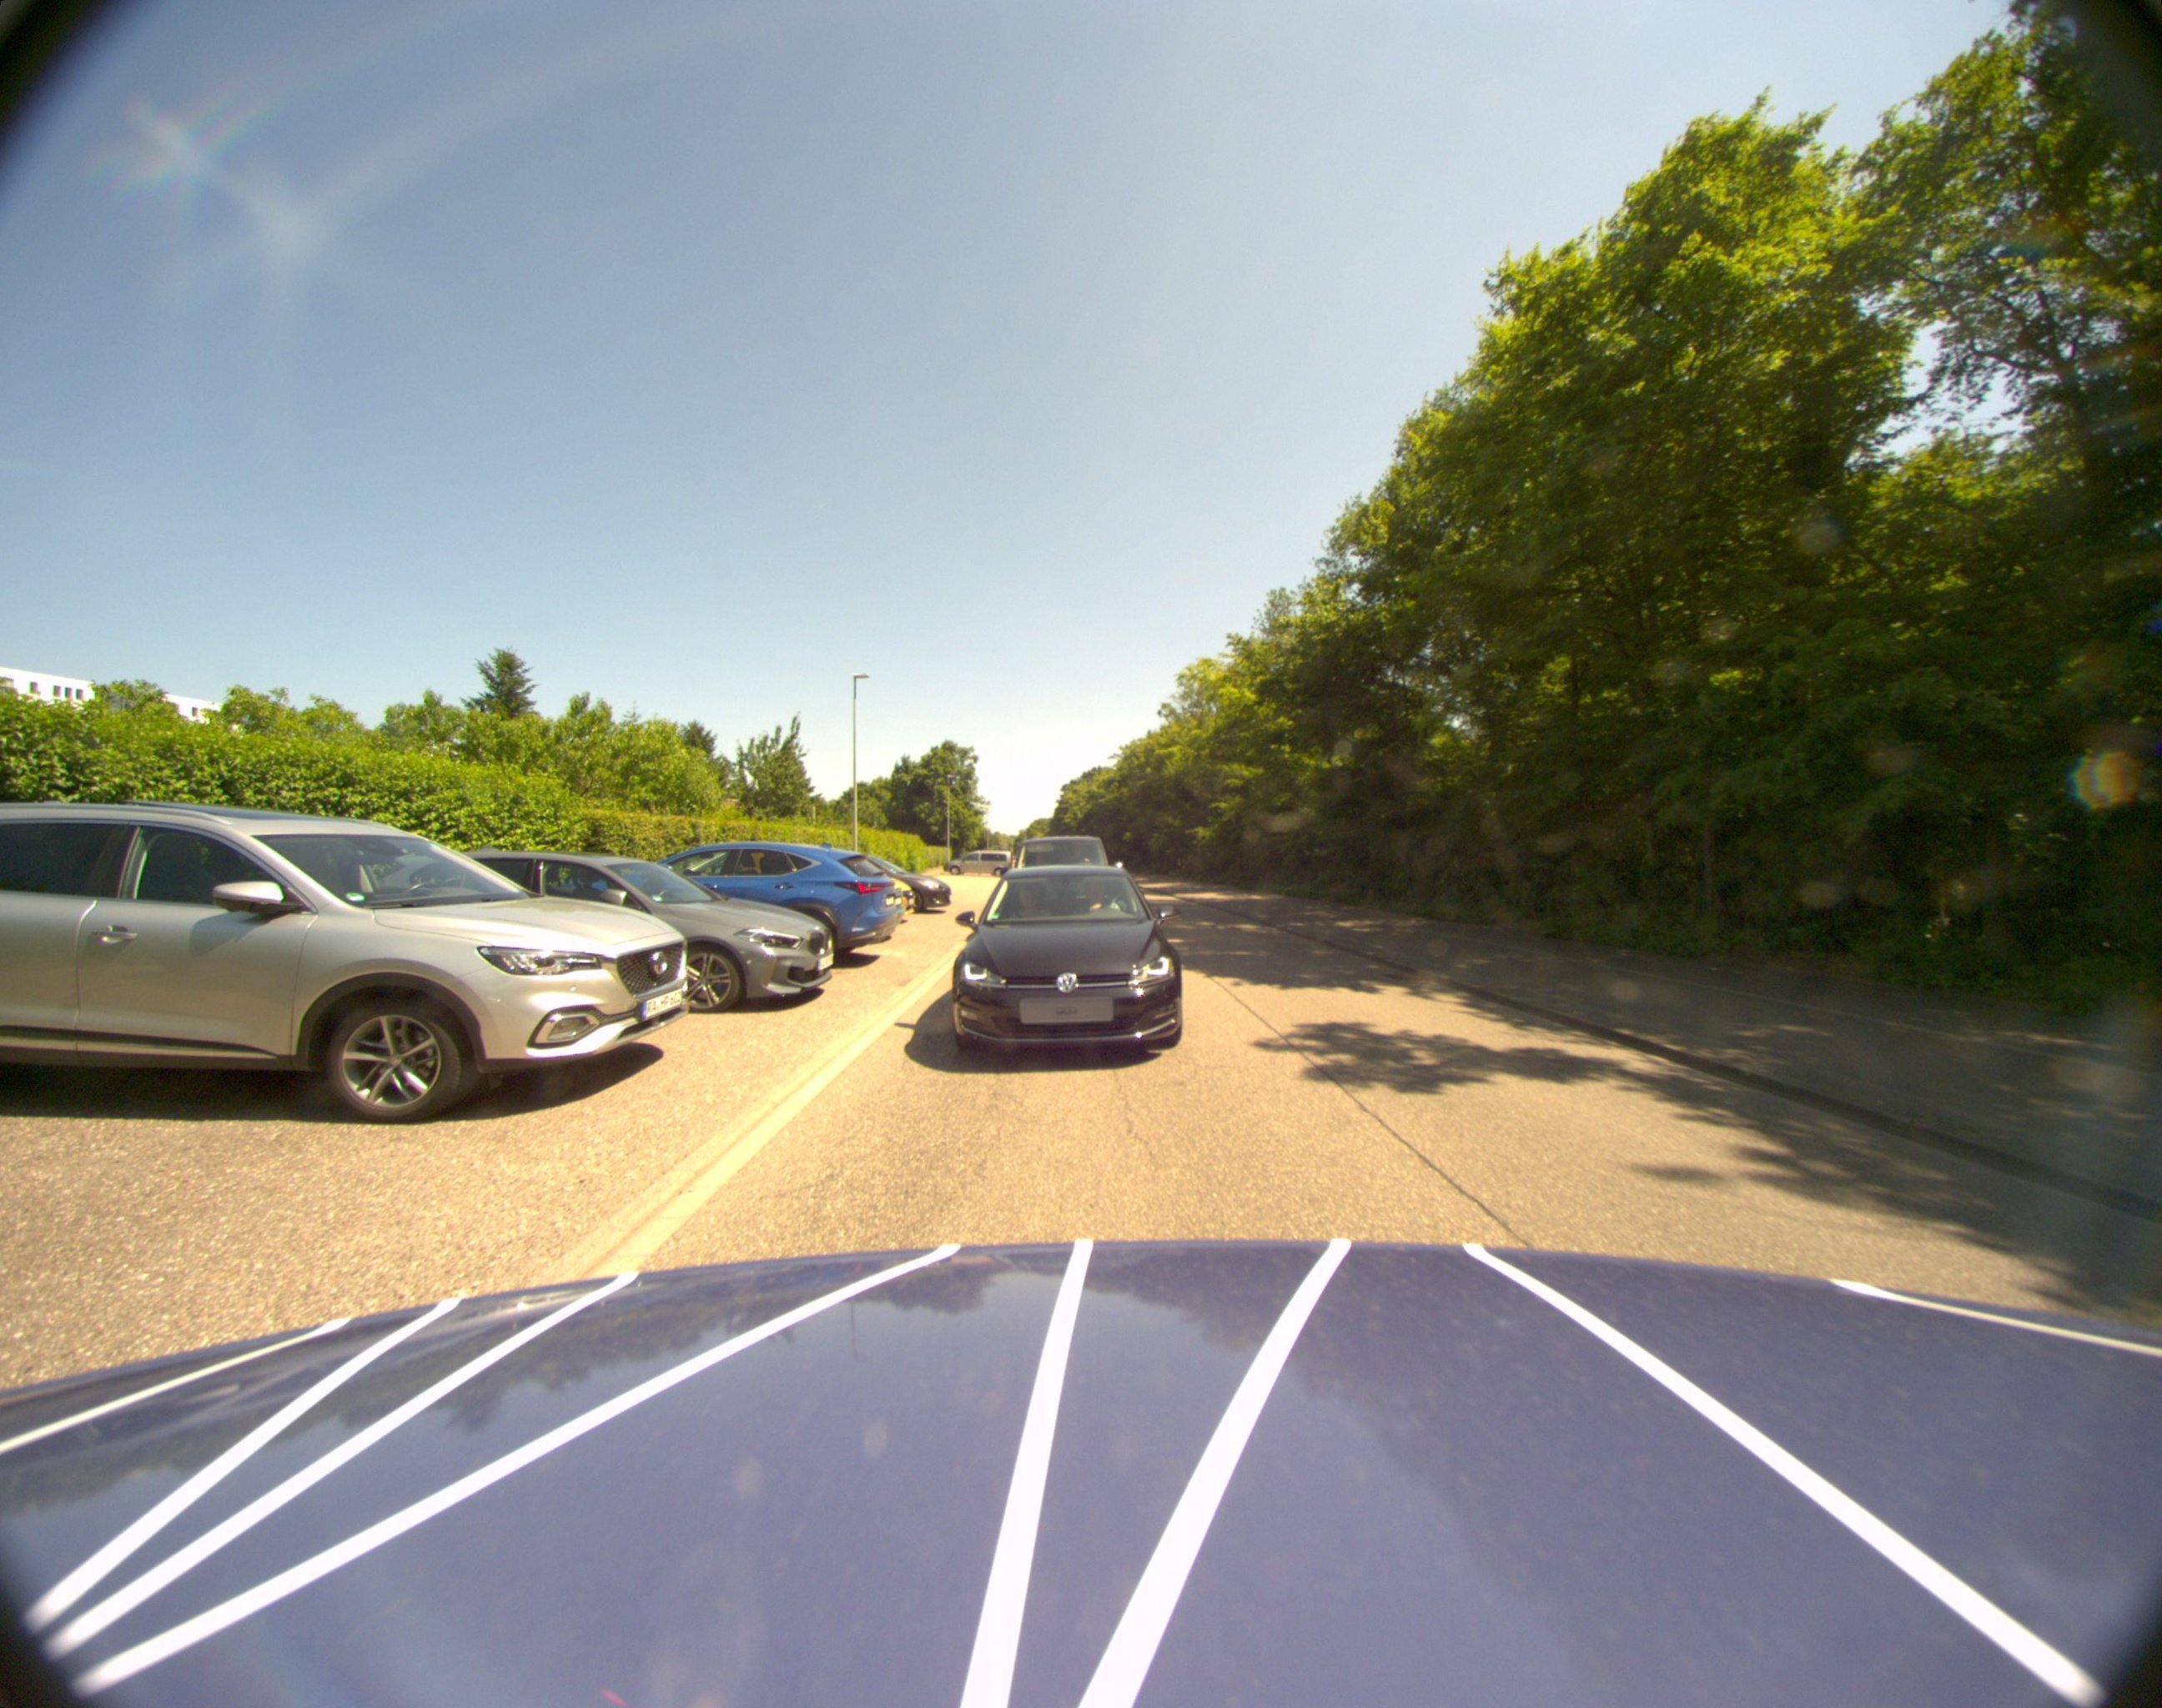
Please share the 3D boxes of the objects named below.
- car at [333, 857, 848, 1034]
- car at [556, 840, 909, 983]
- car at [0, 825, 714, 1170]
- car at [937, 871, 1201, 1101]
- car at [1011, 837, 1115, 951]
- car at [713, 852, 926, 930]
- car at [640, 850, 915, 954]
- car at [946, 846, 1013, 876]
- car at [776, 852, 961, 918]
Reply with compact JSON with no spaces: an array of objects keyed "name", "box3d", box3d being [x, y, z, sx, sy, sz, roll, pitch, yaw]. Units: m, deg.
[{"name":"car","box3d":[-4.651,0.834,7.664,4.036,1.401,1.679,3,1,-1]},{"name":"car","box3d":[-4.621,0.727,10.500,4.036,1.632,1.673,3,1,0]},{"name":"car","box3d":[-4.837,0.730,4.736,4.170,1.632,1.775,3,1,-3]},{"name":"car","box3d":[-0.129,0.936,7.291,1.743,1.396,4.387,-1,0,-1]},{"name":"car","box3d":[-0.355,0.668,15.118,1.743,1.905,4.387,-1,0,-1]},{"name":"car","box3d":[-5.607,0.776,16.632,4.036,1.438,1.649,3,1,-1]},{"name":"car","box3d":[-5.107,0.771,13.150,4.036,1.505,1.649,3,1,-1]},{"name":"car","box3d":[-7.064,0.502,53.138,4.493,1.840,1.695,3,0,-5]},{"name":"car","box3d":[-5.368,0.765,19.544,4.252,1.410,1.649,3,1,-1]}]
